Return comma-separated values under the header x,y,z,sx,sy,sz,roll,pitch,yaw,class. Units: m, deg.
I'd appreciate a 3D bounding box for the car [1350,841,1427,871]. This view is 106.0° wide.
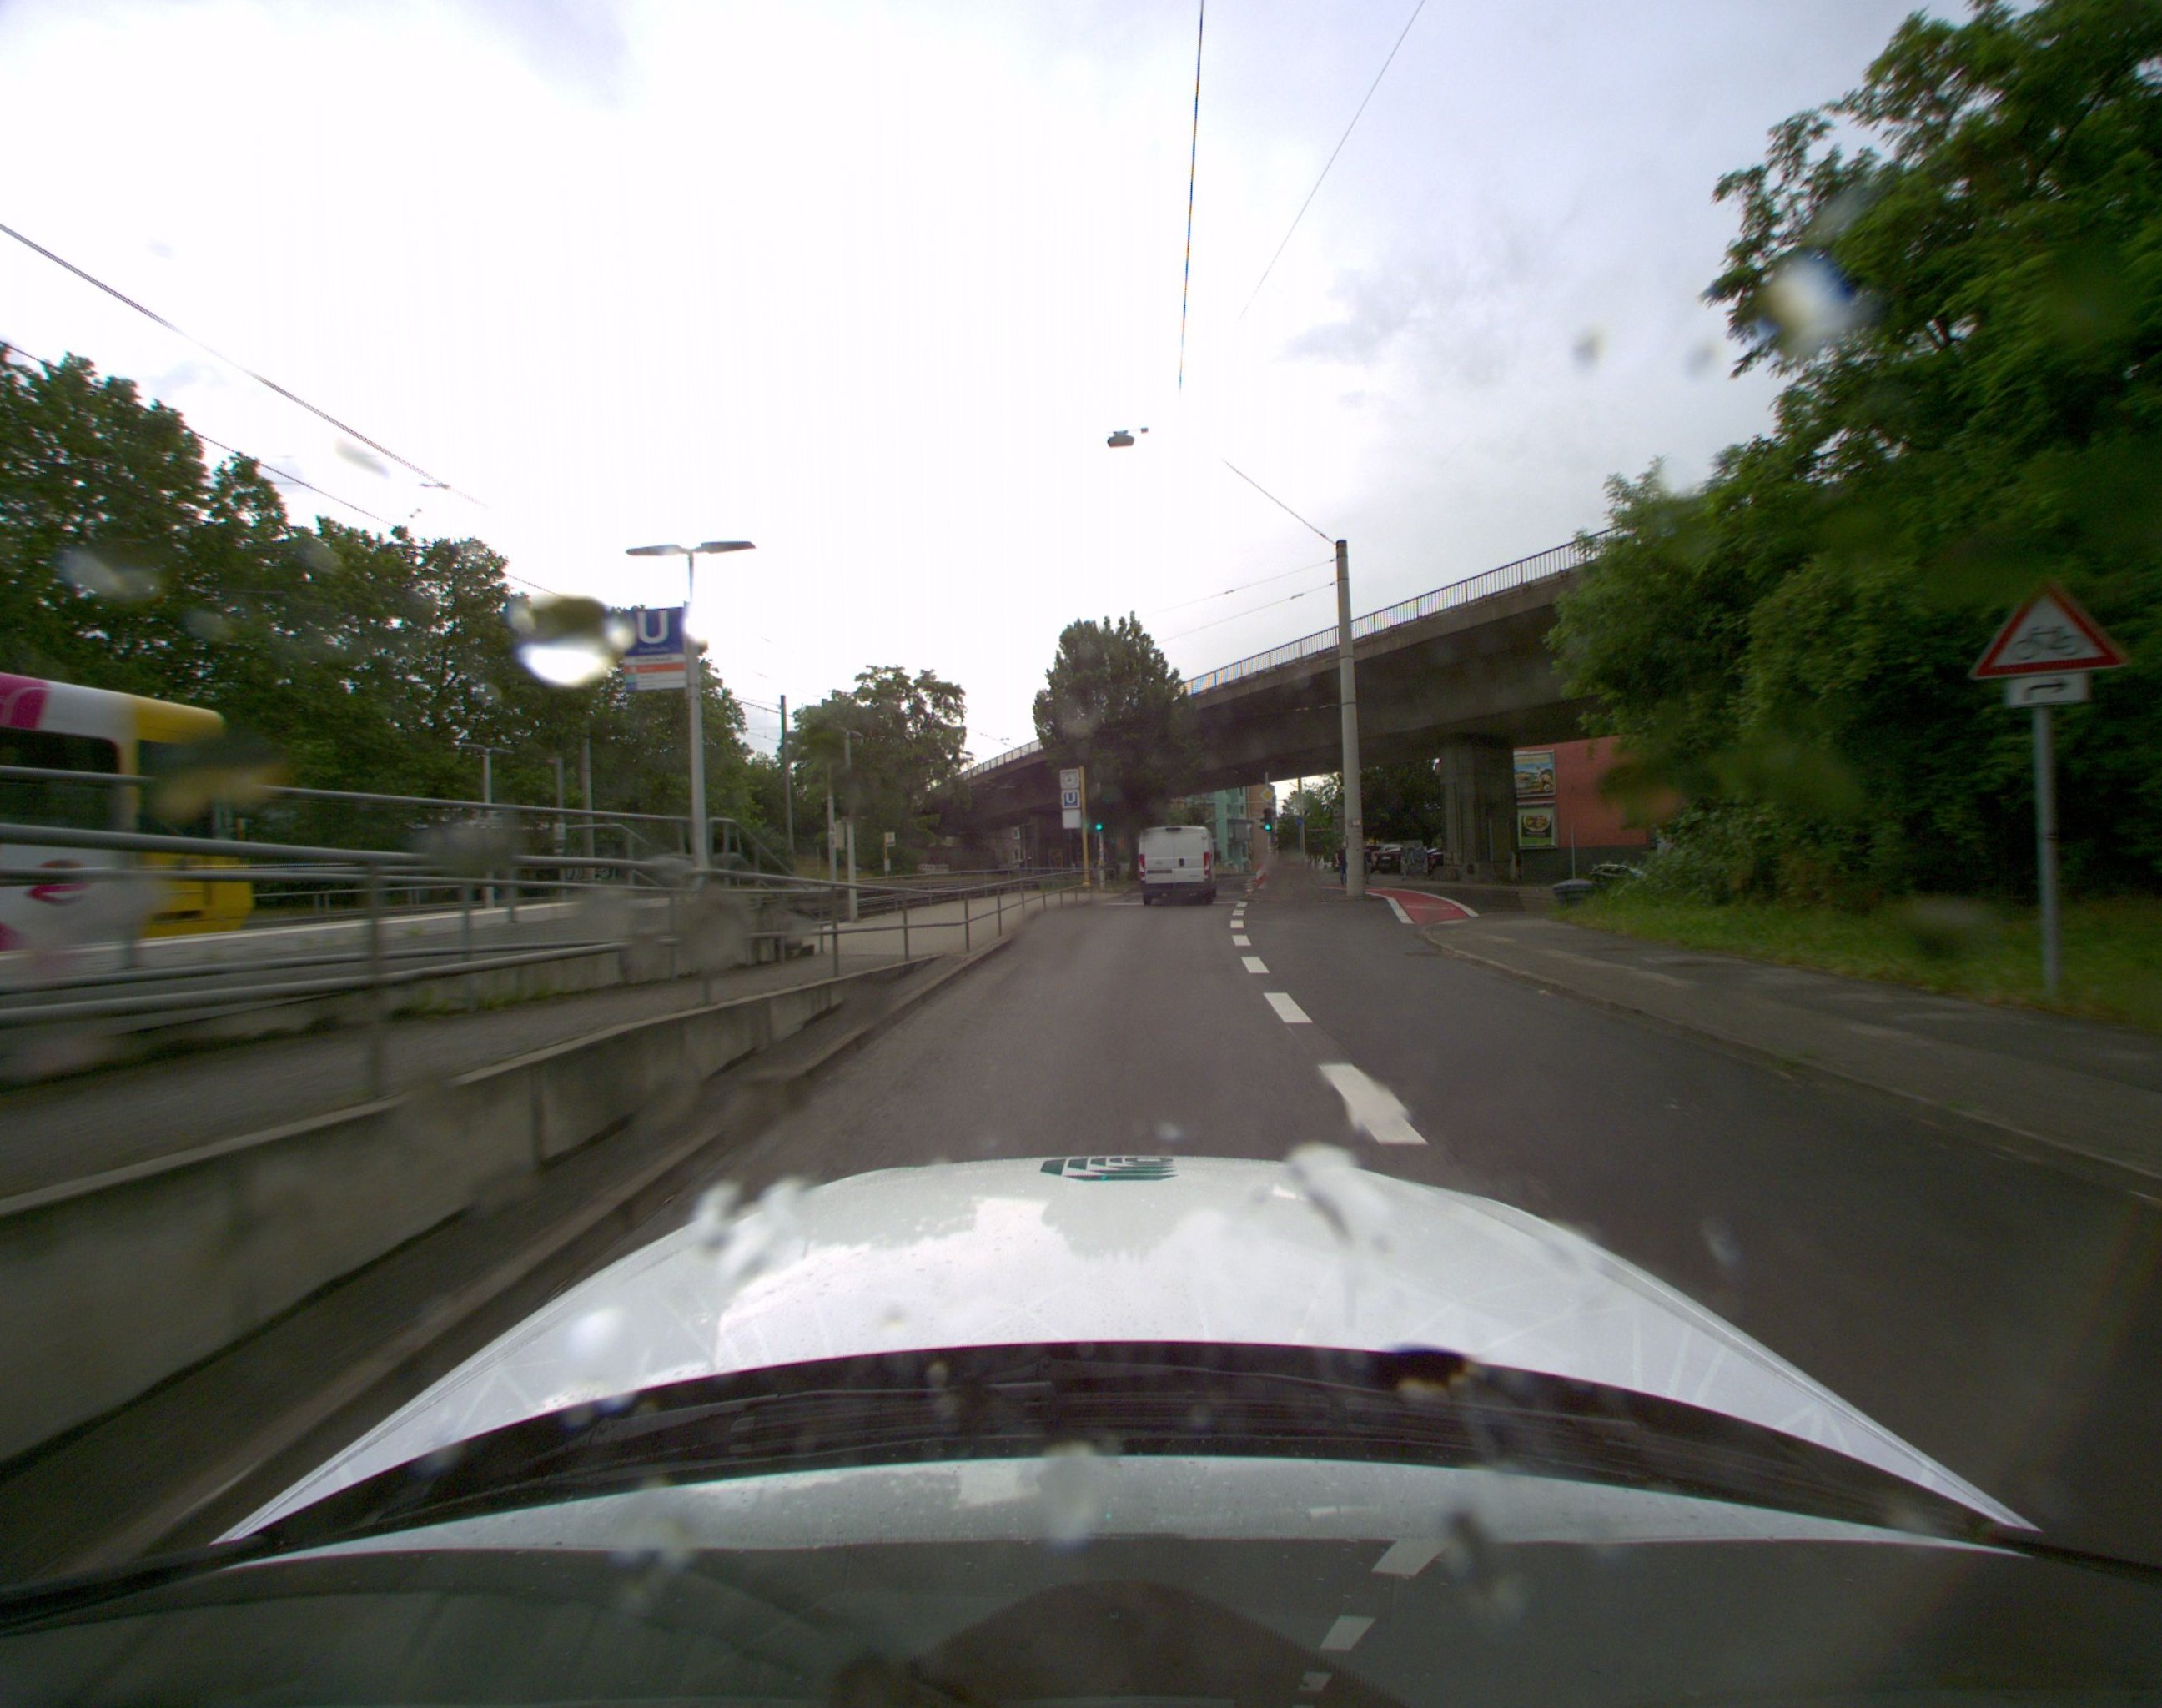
x,y,z,sx,sy,sz,roll,pitch,yaw,class
17.282,0.124,45.815,4.036,1.631,1.948,-1,-1,-31,car

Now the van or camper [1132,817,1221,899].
x,y,z,sx,sy,sz,roll,pitch,yaw,class
3.045,0.146,25.029,2.184,2.253,4.700,0,-1,13,van or camper

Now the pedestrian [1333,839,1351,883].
x,y,z,sx,sy,sz,roll,pitch,yaw,class
10.796,0.296,33.736,0.621,1.808,0.838,0,-1,12,pedestrian

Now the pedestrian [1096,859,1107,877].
x,y,z,sx,sy,sz,roll,pitch,yaw,class
1.951,1.351,77.566,0.687,1.670,0.893,-1,-1,34,pedestrian

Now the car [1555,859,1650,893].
x,y,z,sx,sy,sz,roll,pitch,yaw,class
26.904,1.106,42.159,3.950,1.596,2.012,1,1,27,car

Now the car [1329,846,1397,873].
x,y,z,sx,sy,sz,roll,pitch,yaw,class
16.726,0.299,48.276,3.748,1.522,1.785,-1,-1,-31,car

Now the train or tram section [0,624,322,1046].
x,y,z,sx,sy,sz,roll,pitch,yaw,class
-11.482,-0.291,1.159,2.859,3.961,19.320,0,-1,-1,train or tram section

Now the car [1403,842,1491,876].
x,y,z,sx,sy,sz,roll,pitch,yaw,class
17.887,0.266,39.823,4.009,1.572,1.888,1,-1,-28,car

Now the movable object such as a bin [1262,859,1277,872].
x,y,z,sx,sy,sz,roll,pitch,yaw,class
30.824,1.911,133.468,2.115,2.157,1.812,0,0,22,movable object such as a bin

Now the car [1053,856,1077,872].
x,y,z,sx,sy,sz,roll,pitch,yaw,class
-1.813,1.132,92.599,1.720,1.667,3.176,1,1,-21,car

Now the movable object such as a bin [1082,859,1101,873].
x,y,z,sx,sy,sz,roll,pitch,yaw,class
1.190,1.337,92.108,1.564,1.479,1.788,0,0,-24,movable object such as a bin

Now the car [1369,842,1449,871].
x,y,z,sx,sy,sz,roll,pitch,yaw,class
17.172,0.131,42.582,4.063,1.439,1.769,-1,0,-31,car

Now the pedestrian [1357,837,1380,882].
x,y,z,sx,sy,sz,roll,pitch,yaw,class
11.906,0.221,33.703,0.596,1.822,0.908,1,-1,-4,pedestrian

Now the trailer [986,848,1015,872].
x,y,z,sx,sy,sz,roll,pitch,yaw,class
-9.206,0.728,93.330,2.004,2.725,4.088,0,-1,-26,trailer
